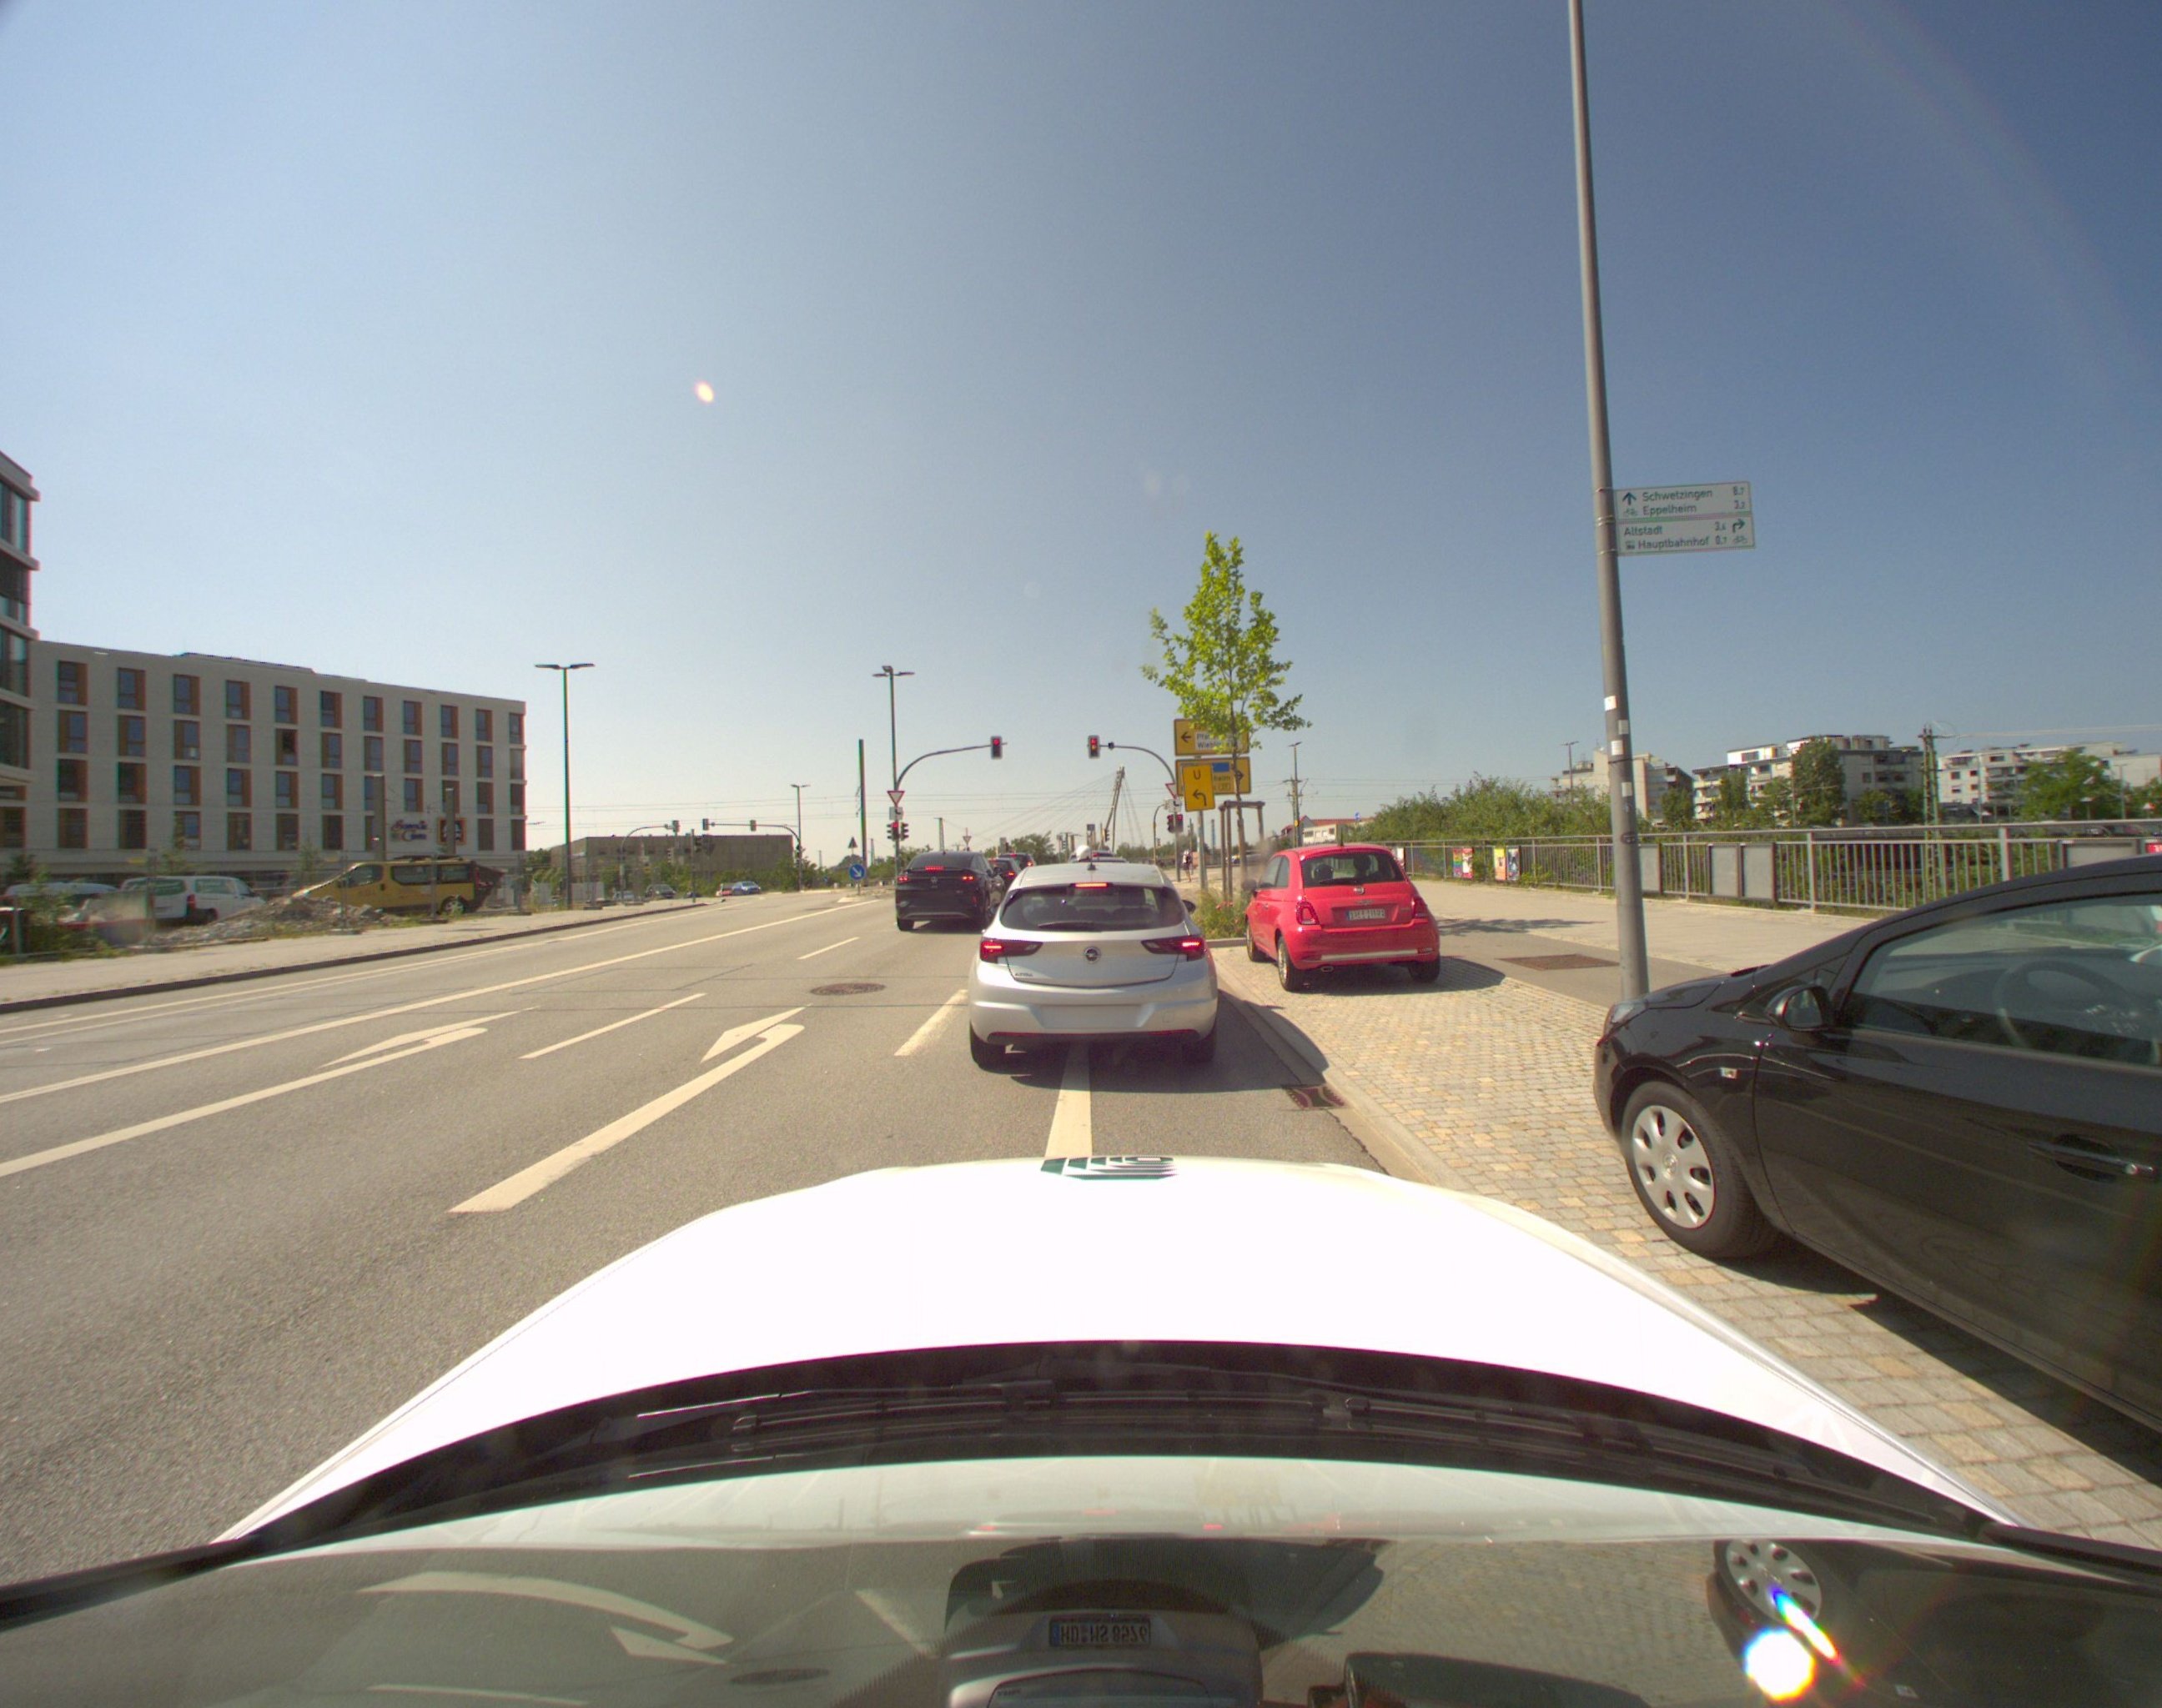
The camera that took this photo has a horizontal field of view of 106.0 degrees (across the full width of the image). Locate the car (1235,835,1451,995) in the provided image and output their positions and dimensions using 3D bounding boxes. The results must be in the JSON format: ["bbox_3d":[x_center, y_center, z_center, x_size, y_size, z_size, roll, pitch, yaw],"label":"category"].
[{"bbox_3d":[2.926,0.607,9.809,1.603,1.496,3.355,-4,0,3],"label":"car"}]

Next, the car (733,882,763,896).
[{"bbox_3d":[-33.197,3.517,81.128,1.831,1.331,3.954,0,-2,-38],"label":"car"}]

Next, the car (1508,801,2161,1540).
[{"bbox_3d":[2.887,0.572,1.925,1.654,1.426,4.001,-3,-1,1],"label":"car"}]

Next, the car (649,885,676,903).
[{"bbox_3d":[-38.476,3.667,74.880,1.686,1.476,3.368,-2,0,-37],"label":"car"}]

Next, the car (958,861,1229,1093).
[{"bbox_3d":[0.066,0.804,7.245,1.738,1.478,3.998,0,-1,-1],"label":"car"}]

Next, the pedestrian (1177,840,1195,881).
[{"bbox_3d":[4.794,0.283,37.361,0.645,1.836,0.798,-2,-1,0],"label":"pedestrian"}]

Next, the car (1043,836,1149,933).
[{"bbox_3d":[0.357,0.563,17.679,1.986,1.820,4.404,0,0,2],"label":"car"}]

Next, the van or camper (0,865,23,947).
[{"bbox_3d":[-36.488,1.714,25.357,2.318,2.735,4.944,0,-1,-26],"label":"van or camper"}]

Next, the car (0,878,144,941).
[{"bbox_3d":[-33.674,1.768,27.201,1.795,1.857,3.817,0,-1,-27],"label":"car"}]

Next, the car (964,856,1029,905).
[{"bbox_3d":[-2.601,0.787,25.825,1.569,1.434,3.786,0,-1,1],"label":"car"}]

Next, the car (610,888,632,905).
[{"bbox_3d":[-45.698,4.192,80.929,1.578,1.587,3.441,0,-1,-35],"label":"car"}]

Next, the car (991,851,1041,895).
[{"bbox_3d":[-2.473,0.716,31.810,1.644,1.615,3.819,0,-1,0],"label":"car"}]

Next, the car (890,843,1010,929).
[{"bbox_3d":[-2.724,0.627,17.883,1.795,1.641,4.367,0,-1,2],"label":"car"}]

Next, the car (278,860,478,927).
[{"bbox_3d":[-22.693,1.189,26.446,1.964,1.962,4.655,-1,-1,40],"label":"car"}]

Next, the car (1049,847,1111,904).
[{"bbox_3d":[0.048,0.583,24.548,1.717,1.563,4.002,0,1,2],"label":"car"}]

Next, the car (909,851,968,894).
[{"bbox_3d":[-5.408,0.691,31.251,1.592,1.547,3.761,0,-1,0],"label":"car"}]

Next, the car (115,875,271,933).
[{"bbox_3d":[-31.030,1.686,28.670,1.873,1.774,4.619,0,-1,-22],"label":"car"}]

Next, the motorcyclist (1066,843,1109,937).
[{"bbox_3d":[0.109,0.542,12.422,0.579,1.389,0.708,0,-1,6],"label":"motorcyclist"}]
